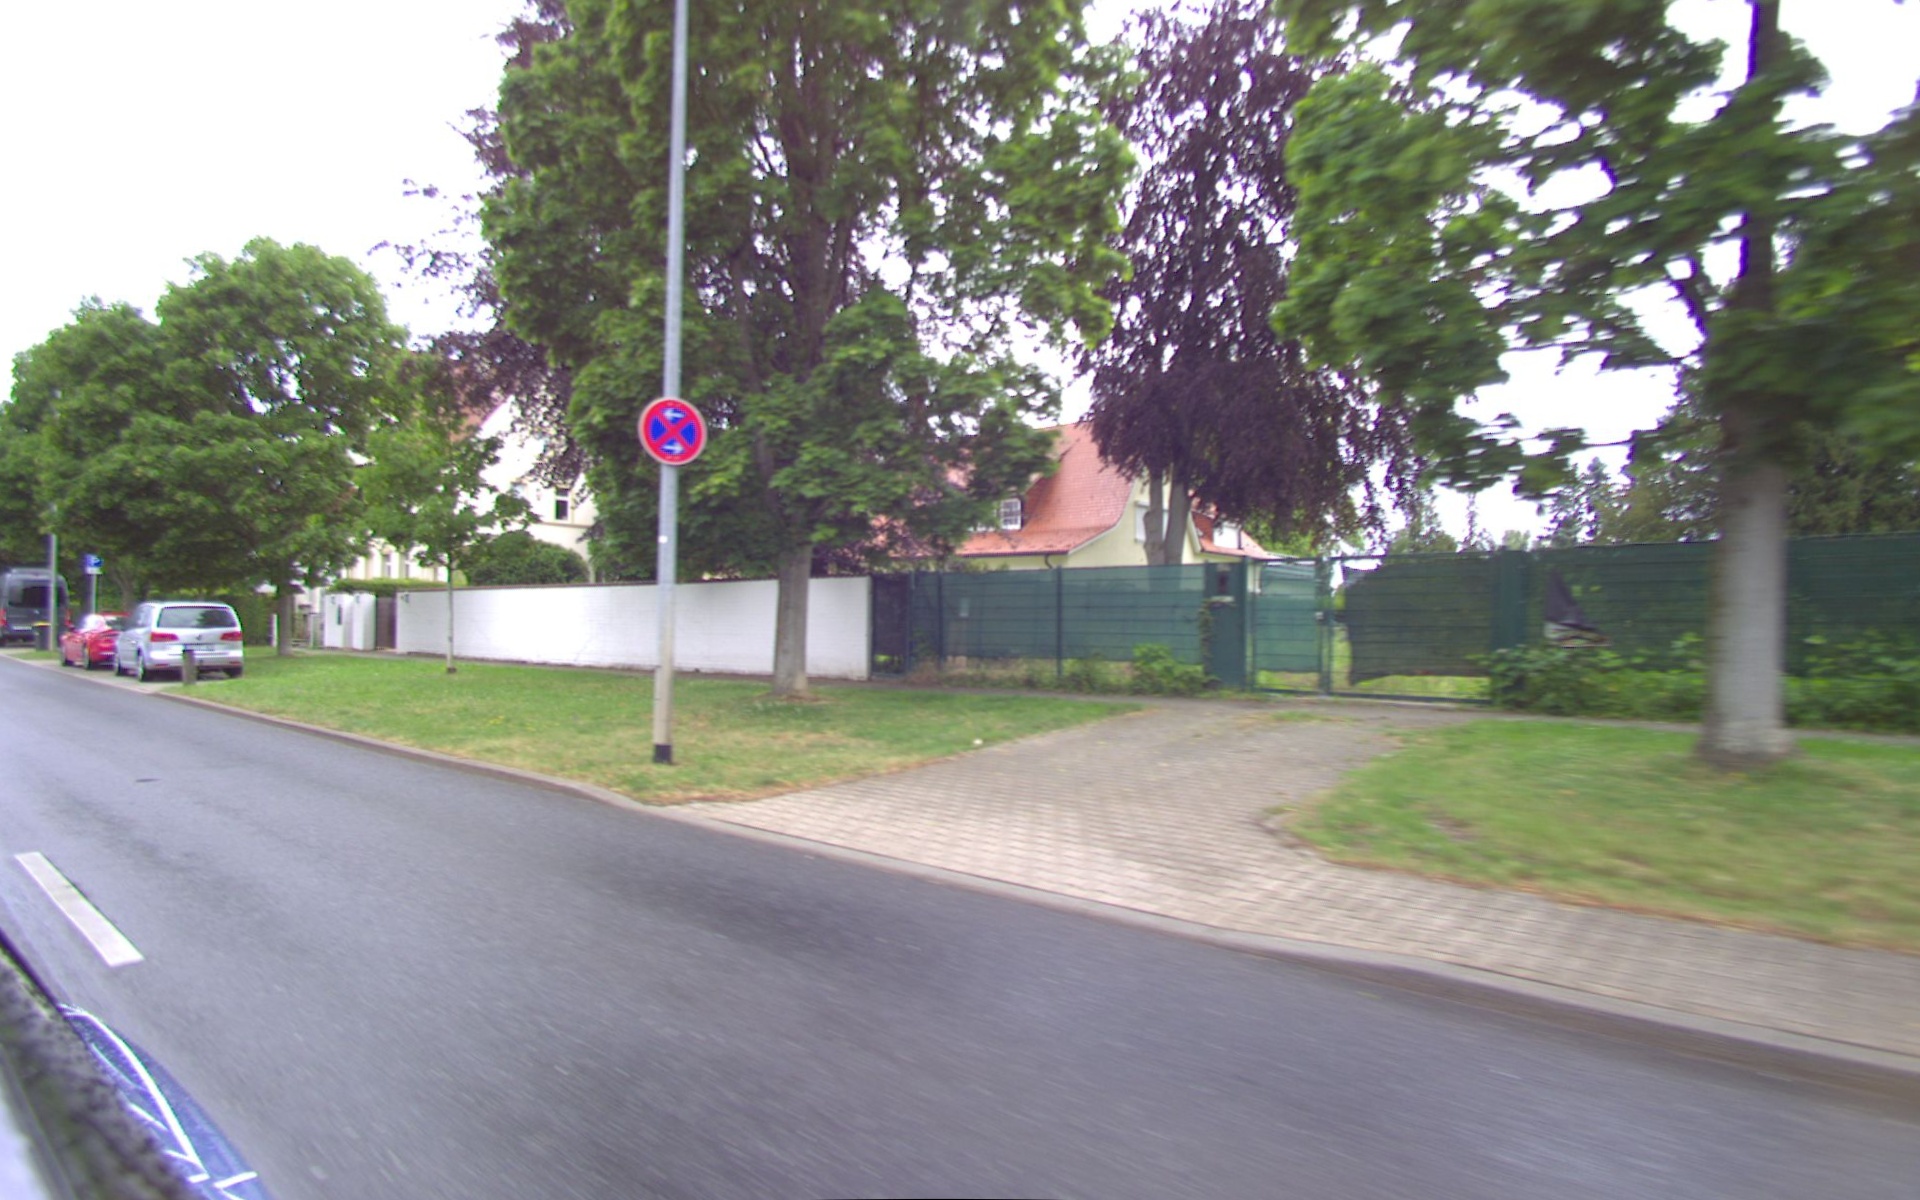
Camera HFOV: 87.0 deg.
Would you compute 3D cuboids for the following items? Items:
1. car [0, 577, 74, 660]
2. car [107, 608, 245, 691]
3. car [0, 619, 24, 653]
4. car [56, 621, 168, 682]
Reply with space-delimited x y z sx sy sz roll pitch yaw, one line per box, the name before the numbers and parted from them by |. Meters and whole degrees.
car | -34.375 0.643 37.198 5.045 2.860 2.218 -1 0 43
car | -16.979 1.023 21.849 4.000 1.619 1.751 -1 -2 43
car | -39.506 1.471 41.242 3.843 1.334 1.683 -1 0 43
car | -21.152 1.232 25.187 3.843 1.334 1.683 -1 0 43
